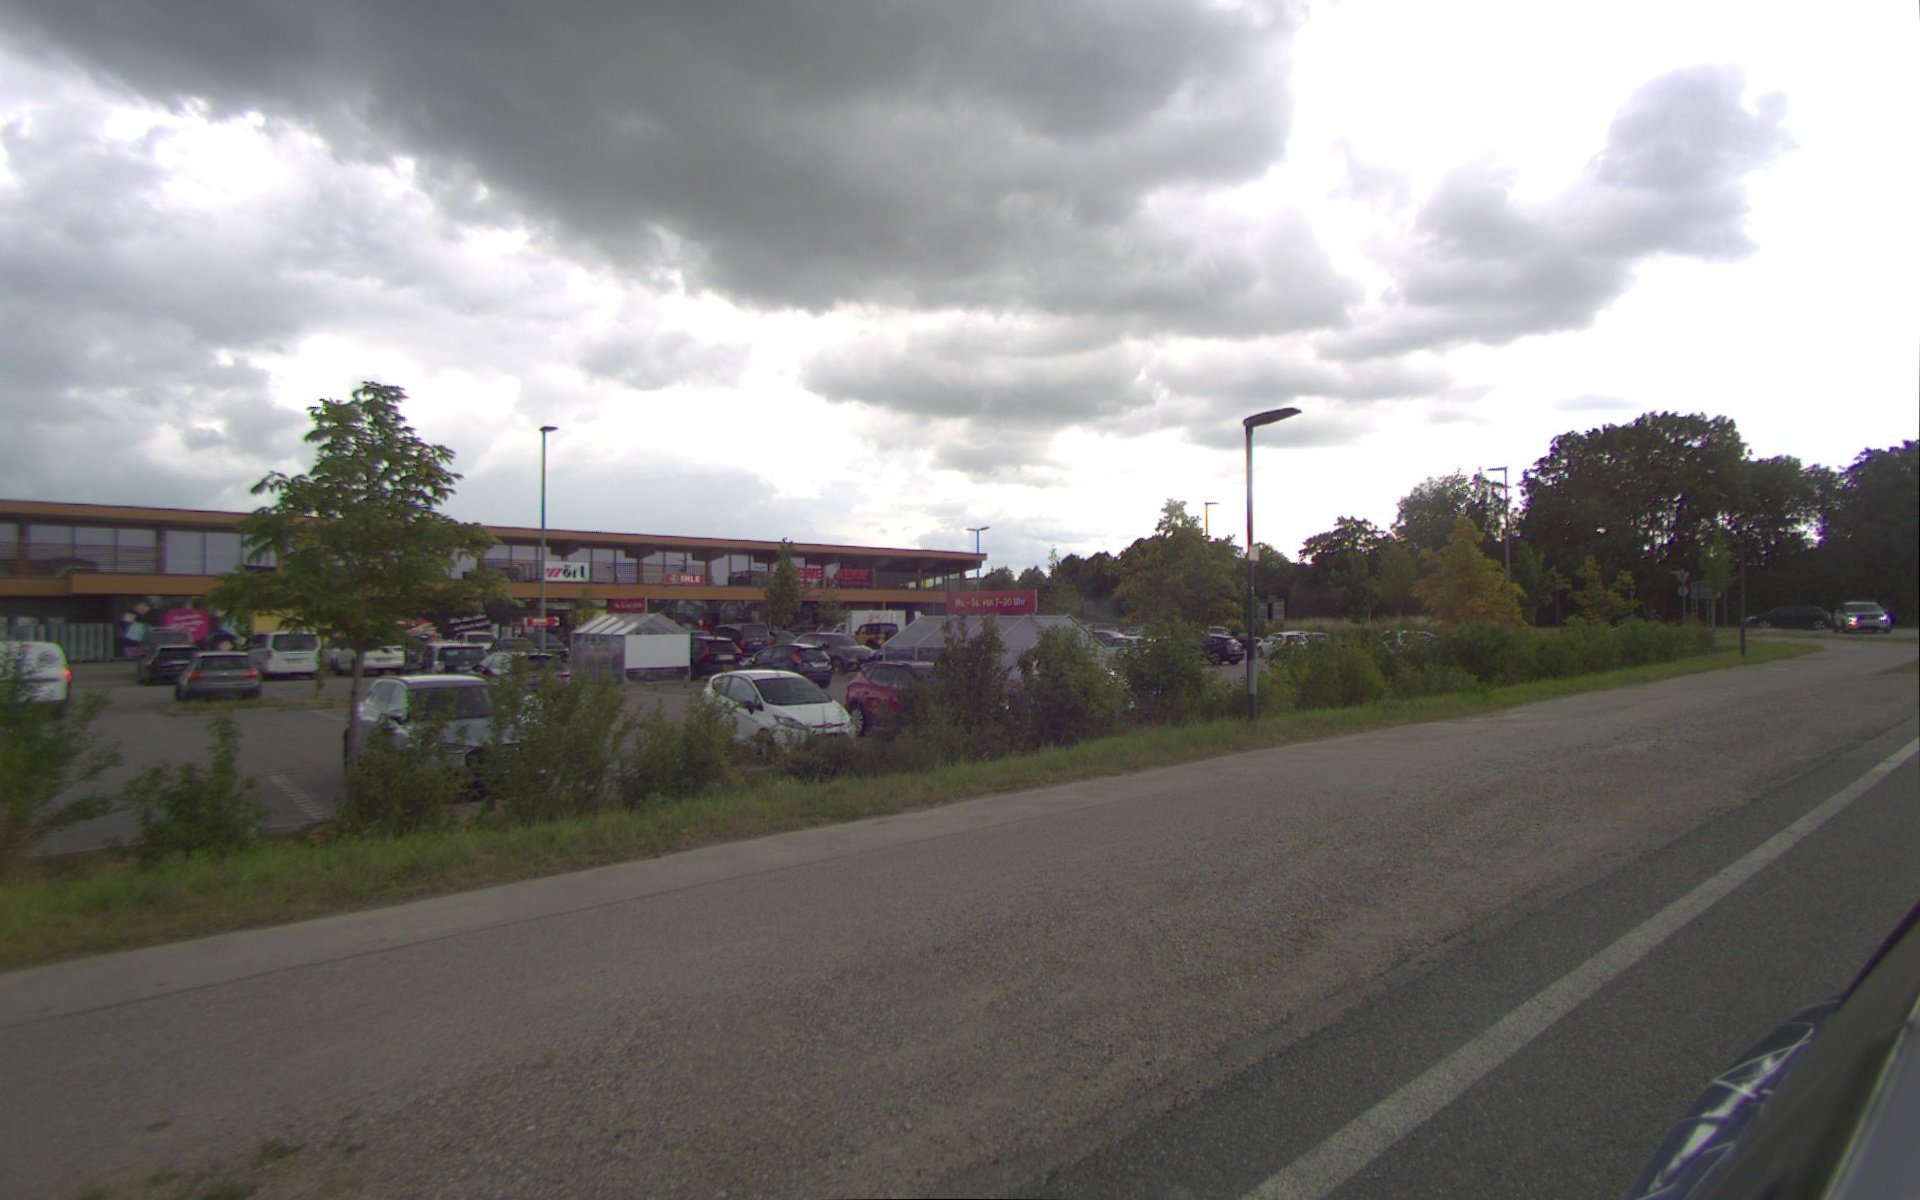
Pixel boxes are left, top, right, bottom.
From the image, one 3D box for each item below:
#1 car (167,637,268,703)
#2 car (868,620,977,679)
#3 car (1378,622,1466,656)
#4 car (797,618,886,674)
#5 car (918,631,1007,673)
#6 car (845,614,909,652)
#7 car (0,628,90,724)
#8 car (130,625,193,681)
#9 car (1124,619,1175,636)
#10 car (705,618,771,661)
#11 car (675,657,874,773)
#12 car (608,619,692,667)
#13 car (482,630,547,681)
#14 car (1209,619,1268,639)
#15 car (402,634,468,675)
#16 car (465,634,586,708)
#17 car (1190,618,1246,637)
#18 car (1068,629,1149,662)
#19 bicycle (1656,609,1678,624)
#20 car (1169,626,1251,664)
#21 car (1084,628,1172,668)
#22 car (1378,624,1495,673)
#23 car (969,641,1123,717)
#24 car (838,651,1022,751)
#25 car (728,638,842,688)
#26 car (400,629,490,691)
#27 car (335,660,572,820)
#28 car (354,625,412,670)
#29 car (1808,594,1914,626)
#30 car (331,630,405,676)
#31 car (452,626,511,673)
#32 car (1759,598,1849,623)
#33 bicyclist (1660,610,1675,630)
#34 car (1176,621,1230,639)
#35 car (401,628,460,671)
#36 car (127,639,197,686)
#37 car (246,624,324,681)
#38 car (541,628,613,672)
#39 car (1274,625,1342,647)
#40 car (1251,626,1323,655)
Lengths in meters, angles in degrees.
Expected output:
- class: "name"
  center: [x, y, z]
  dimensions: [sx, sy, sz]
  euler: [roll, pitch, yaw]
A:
- class: "car"
  center: [-20.547, 1.859, 27.929]
  dimensions: [1.869, 1.451, 4.184]
  euler: [0, 1, -42]
- class: "car"
  center: [-1.436, 1.744, 37.162]
  dimensions: [1.962, 1.894, 4.274]
  euler: [0, 1, -35]
- class: "car"
  center: [25.107, 2.122, 55.025]
  dimensions: [4.154, 1.738, 1.705]
  euler: [1, 0, -13]
- class: "car"
  center: [-4.926, 1.843, 41.593]
  dimensions: [1.962, 2.039, 4.000]
  euler: [1, 1, -35]
- class: "car"
  center: [0.060, 2.269, 45.228]
  dimensions: [1.962, 1.571, 4.131]
  euler: [0, 1, -35]
- class: "car"
  center: [-4.869, 1.872, 59.037]
  dimensions: [1.962, 2.039, 4.000]
  euler: [1, 1, -35]
- class: "car"
  center: [-22.978, 1.712, 23.759]
  dimensions: [4.892, 1.930, 2.091]
  euler: [1, 0, 26]
- class: "car"
  center: [-33.246, 2.148, 42.098]
  dimensions: [1.819, 2.035, 4.223]
  euler: [0, 1, -42]
- class: "car"
  center: [16.382, 2.394, 87.568]
  dimensions: [3.916, 1.377, 1.705]
  euler: [1, 0, -13]
- class: "car"
  center: [-11.665, 2.008, 52.997]
  dimensions: [1.962, 2.039, 4.000]
  euler: [1, 1, -35]
- class: "car"
  center: [-3.477, 1.973, 18.432]
  dimensions: [1.647, 1.557, 4.153]
  euler: [0, 1, -42]
- class: "car"
  center: [-15.008, 2.011, 48.850]
  dimensions: [1.965, 2.039, 5.138]
  euler: [0, 1, -41]
- class: "car"
  center: [-20.350, 2.459, 46.150]
  dimensions: [1.962, 2.039, 4.000]
  euler: [1, 1, -35]
- class: "car"
  center: [20.851, 2.160, 75.875]
  dimensions: [3.916, 1.377, 1.705]
  euler: [1, 0, -13]
- class: "car"
  center: [-22.459, 2.281, 43.220]
  dimensions: [1.761, 1.496, 3.745]
  euler: [0, 1, -40]
- class: "car"
  center: [-11.739, 1.825, 27.218]
  dimensions: [1.964, 1.638, 3.995]
  euler: [0, 1, -40]
- class: "car"
  center: [20.189, 2.129, 79.275]
  dimensions: [3.916, 1.377, 1.705]
  euler: [1, 0, -13]
- class: "car"
  center: [7.823, 2.394, 53.730]
  dimensions: [1.962, 1.504, 4.131]
  euler: [0, 1, -35]
- class: "bicycle"
  center: [47.429, 1.100, 67.882]
  dimensions: [0.557, 0.974, 1.301]
  euler: [1, 0, 0]
- class: "car"
  center: [11.971, 2.180, 48.585]
  dimensions: [1.771, 1.728, 3.385]
  euler: [0, -3, -41]
- class: "car"
  center: [7.404, 2.091, 44.745]
  dimensions: [1.723, 1.552, 3.554]
  euler: [0, 1, -41]
- class: "car"
  center: [19.288, 1.910, 41.076]
  dimensions: [1.629, 1.727, 3.993]
  euler: [0, 1, -41]
- class: "car"
  center: [2.097, 1.908, 25.369]
  dimensions: [1.647, 1.557, 3.762]
  euler: [0, 1, -42]
- class: "car"
  center: [-0.682, 1.928, 20.270]
  dimensions: [1.647, 1.557, 3.762]
  euler: [0, 1, -42]
- class: "car"
  center: [-5.871, 2.037, 33.677]
  dimensions: [1.965, 1.460, 3.993]
  euler: [0, -1, -41]
- class: "car"
  center: [-16.345, 1.823, 31.998]
  dimensions: [1.962, 1.638, 4.000]
  euler: [0, 1, -35]
- class: "car"
  center: [-7.391, 1.833, 14.567]
  dimensions: [2.045, 1.618, 4.153]
  euler: [0, 1, -42]
- class: "car"
  center: [-26.551, 2.136, 46.492]
  dimensions: [1.908, 1.772, 4.000]
  euler: [0, 1, -35]
- class: "car"
  center: [45.866, 0.489, 51.627]
  dimensions: [1.962, 1.538, 3.771]
  euler: [1, 1, 0]
- class: "car"
  center: [-24.245, 2.116, 41.407]
  dimensions: [2.003, 1.628, 3.745]
  euler: [0, 1, -40]
- class: "car"
  center: [-23.669, 2.400, 49.969]
  dimensions: [1.962, 2.039, 4.000]
  euler: [1, 1, -35]
- class: "car"
  center: [51.933, 0.607, 62.378]
  dimensions: [3.964, 1.438, 1.699]
  euler: [1, 0, 29]
- class: "bicyclist"
  center: [47.421, 1.337, 67.848]
  dimensions: [0.545, 1.259, 0.659]
  euler: [1, 0, 0]
- class: "car"
  center: [19.776, 2.452, 82.475]
  dimensions: [3.916, 1.377, 1.705]
  euler: [1, 0, -13]
- class: "car"
  center: [-25.104, 2.289, 47.917]
  dimensions: [1.908, 1.772, 4.000]
  euler: [0, 1, -35]
- class: "car"
  center: [-28.614, 2.208, 36.259]
  dimensions: [1.744, 1.399, 3.466]
  euler: [0, 1, -42]
- class: "car"
  center: [-26.160, 1.967, 39.176]
  dimensions: [2.004, 1.935, 3.898]
  euler: [0, 1, -42]
- class: "car"
  center: [-20.718, 2.640, 54.618]
  dimensions: [1.965, 2.039, 5.138]
  euler: [0, 1, -41]
- class: "car"
  center: [23.018, 2.363, 66.994]
  dimensions: [3.916, 1.377, 1.705]
  euler: [1, 0, -13]
- class: "car"
  center: [18.445, 2.267, 57.290]
  dimensions: [1.806, 1.377, 4.009]
  euler: [1, 1, -20]
